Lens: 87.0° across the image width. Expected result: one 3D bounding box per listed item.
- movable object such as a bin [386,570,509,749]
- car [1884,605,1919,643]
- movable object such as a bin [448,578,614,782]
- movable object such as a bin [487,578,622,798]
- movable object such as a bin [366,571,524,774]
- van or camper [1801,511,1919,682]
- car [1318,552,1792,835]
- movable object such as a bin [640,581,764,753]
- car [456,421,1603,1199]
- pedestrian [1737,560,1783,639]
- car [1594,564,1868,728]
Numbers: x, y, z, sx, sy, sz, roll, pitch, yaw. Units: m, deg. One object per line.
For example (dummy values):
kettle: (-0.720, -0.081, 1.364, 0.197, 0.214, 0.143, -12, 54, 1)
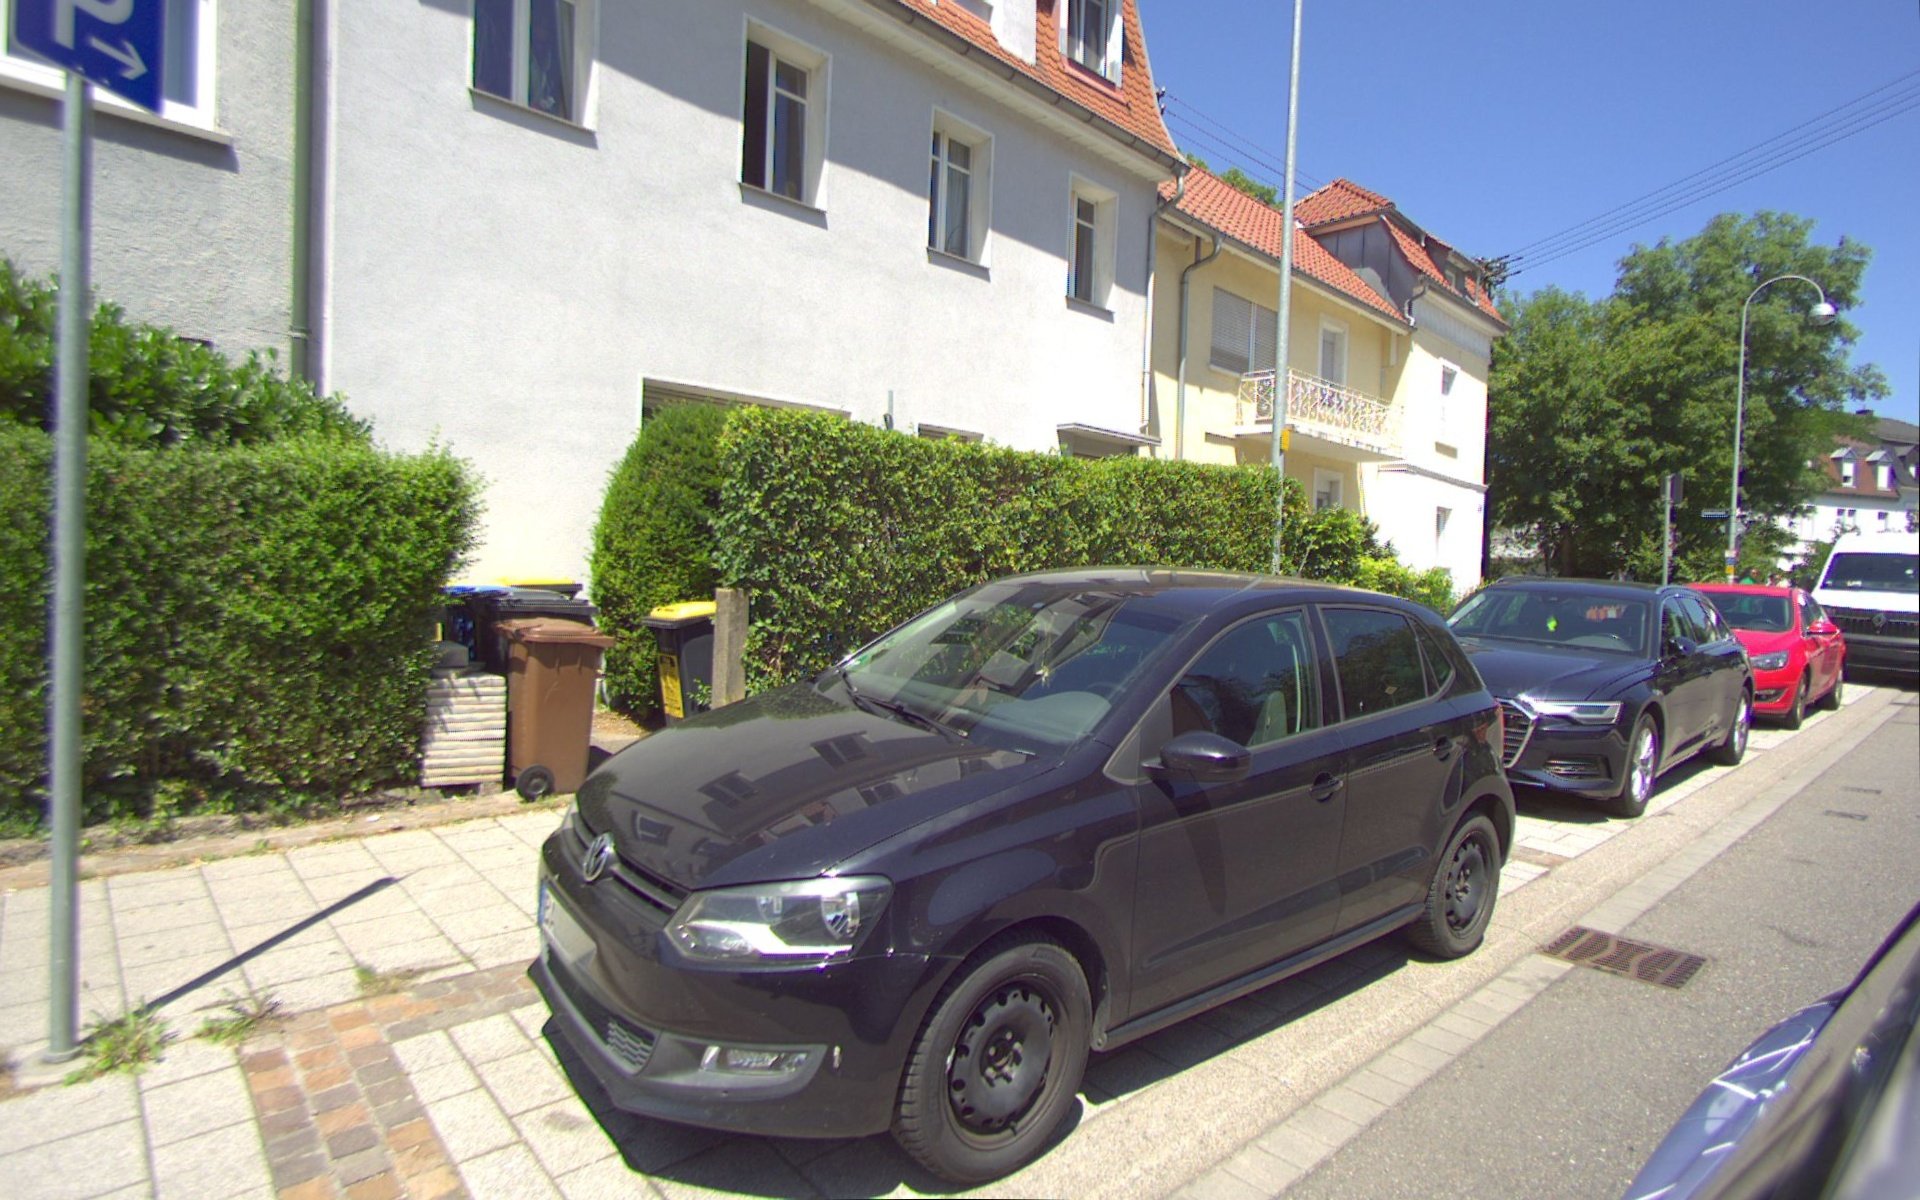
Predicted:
movable object such as a bin: (-3.476, 0.368, 6.856, 0.615, 1.123, 0.612, 0, 2, -40)
car: (52.986, 1.304, 54.713, 1.958, 2.039, 4.008, 1, 0, -15)
movable object such as a bin: (-2.533, 0.430, 5.974, 0.762, 1.098, 0.555, 0, 2, -40)
movable object such as a bin: (-2.223, 0.447, 5.549, 0.546, 1.117, 0.488, 0, 2, -41)
movable object such as a bin: (-3.168, 0.400, 6.211, 0.709, 1.123, 0.738, 0, 2, -40)
van or camper: (16.243, -0.103, 17.087, 6.070, 2.496, 2.113, -1, 5, -42)
car: (4.866, 0.497, 7.936, 4.639, 1.492, 1.807, 0, 5, -42)
movable object such as a bin: (-1.777, 0.431, 6.973, 0.660, 1.098, 0.501, 0, 2, -40)
car: (0.518, 0.456, 3.679, 3.926, 1.652, 1.734, 1, 4, -38)
pedestrian: (18.084, -0.027, 22.903, 0.517, 1.726, 0.796, 6, 4, 28)
car: (9.158, 0.423, 11.896, 4.079, 1.549, 1.806, 0, 3, -42)
